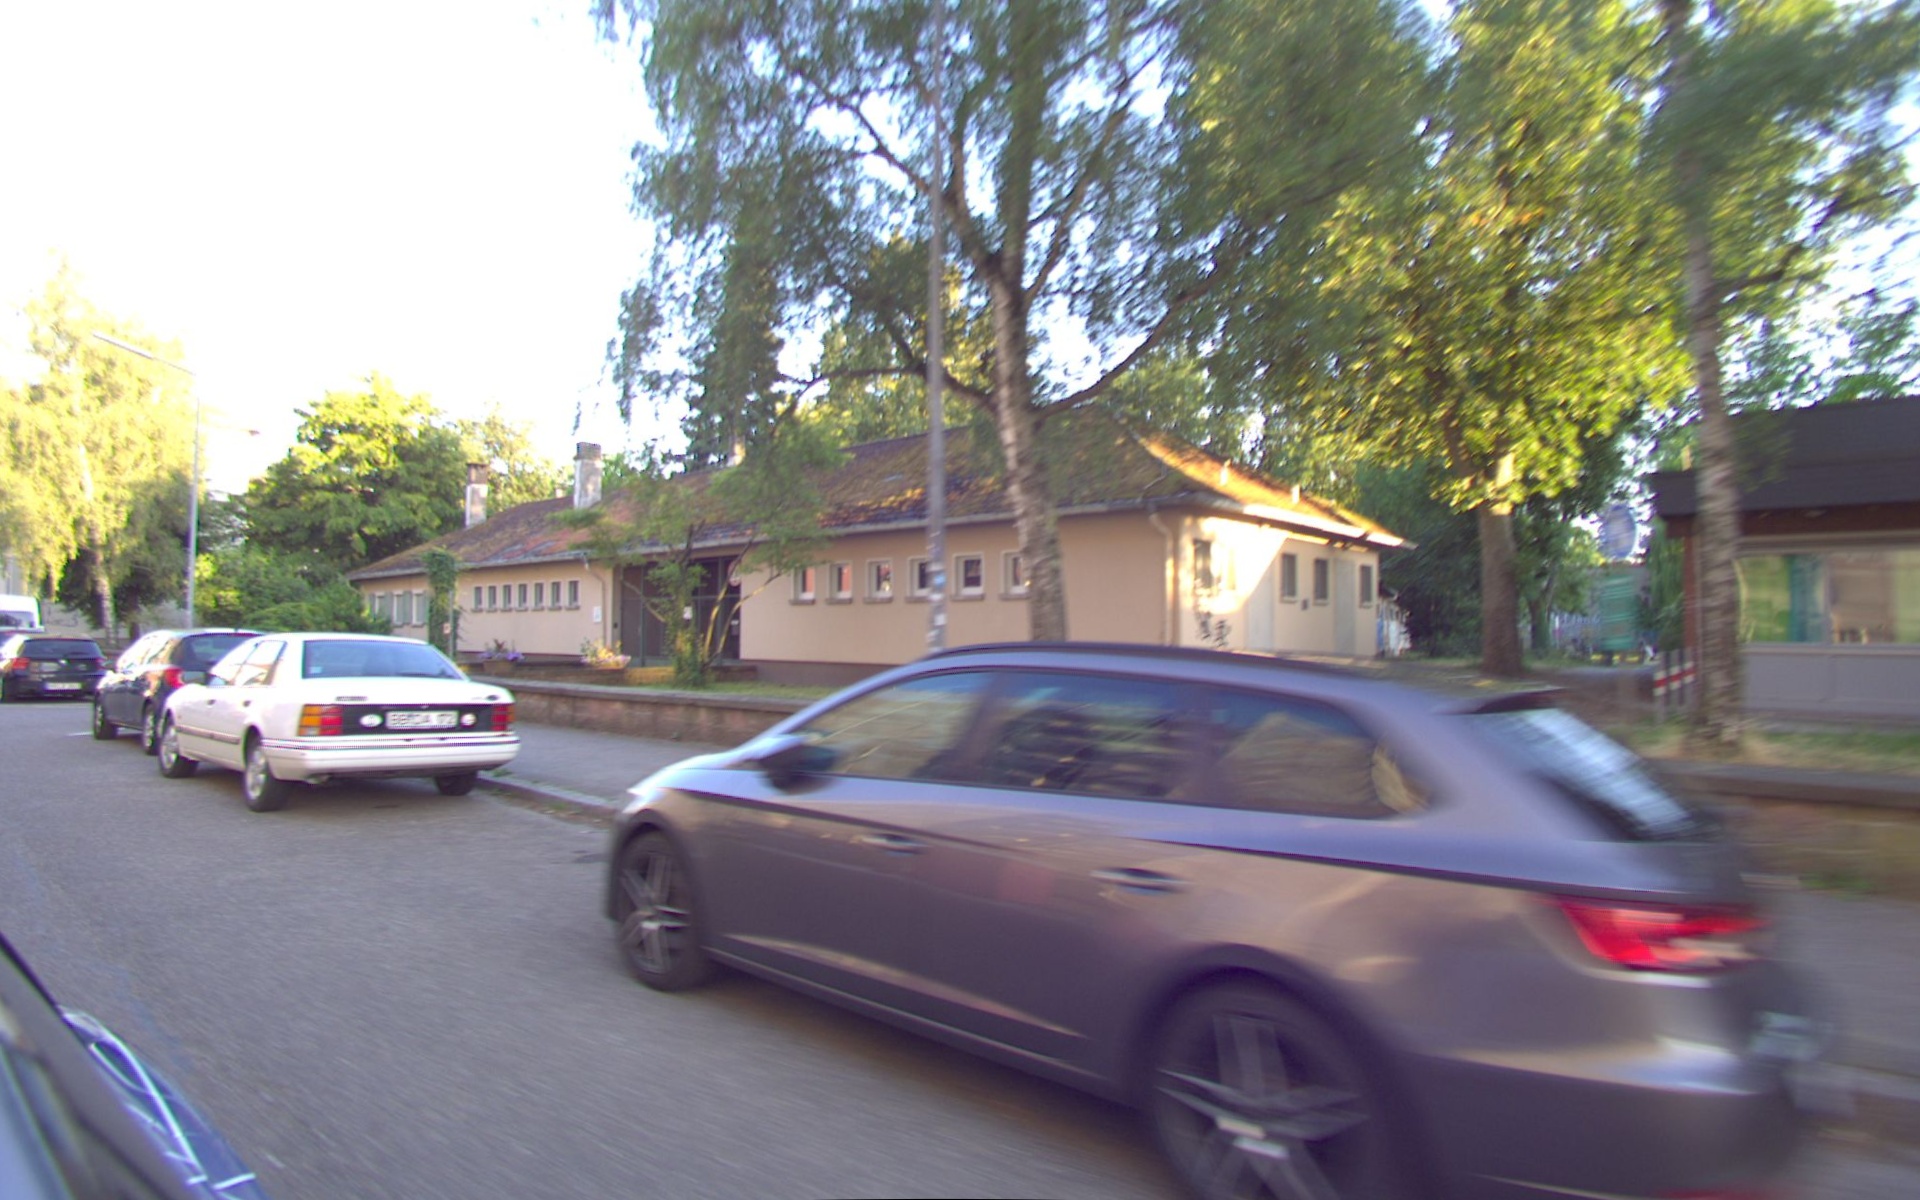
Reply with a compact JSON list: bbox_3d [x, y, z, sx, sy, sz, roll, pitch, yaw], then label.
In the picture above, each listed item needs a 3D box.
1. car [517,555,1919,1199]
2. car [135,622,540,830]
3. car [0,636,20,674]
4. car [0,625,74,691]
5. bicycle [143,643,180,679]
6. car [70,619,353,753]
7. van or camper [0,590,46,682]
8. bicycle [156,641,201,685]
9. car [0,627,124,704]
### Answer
[{"bbox_3d":[0.390,0.792,3.774,4.756,1.550,1.840,-2,-4,41],"label":"car"},{"bbox_3d":[-5.908,0.991,9.337,4.745,1.457,1.764,-1,-5,41],"label":"car"},{"bbox_3d":[-32.236,1.758,32.724,4.028,1.198,1.976,-1,-2,36],"label":"car"},{"bbox_3d":[-23.785,1.408,25.235,4.787,1.530,1.972,-2,-2,42],"label":"car"},{"bbox_3d":[-22.398,1.691,28.381,1.955,0.972,0.537,-2,-2,43],"label":"bicycle"},{"bbox_3d":[-9.759,1.003,13.113,3.995,1.464,1.974,-2,-2,38],"label":"car"},{"bbox_3d":[-28.244,1.035,29.221,6.080,2.476,1.973,-2,-3,41],"label":"van or camper"},{"bbox_3d":[-20.738,1.646,26.849,1.953,1.126,0.538,-2,-2,40],"label":"bicycle"},{"bbox_3d":[-19.375,1.321,21.419,4.287,1.464,1.972,-2,-2,42],"label":"car"}]
